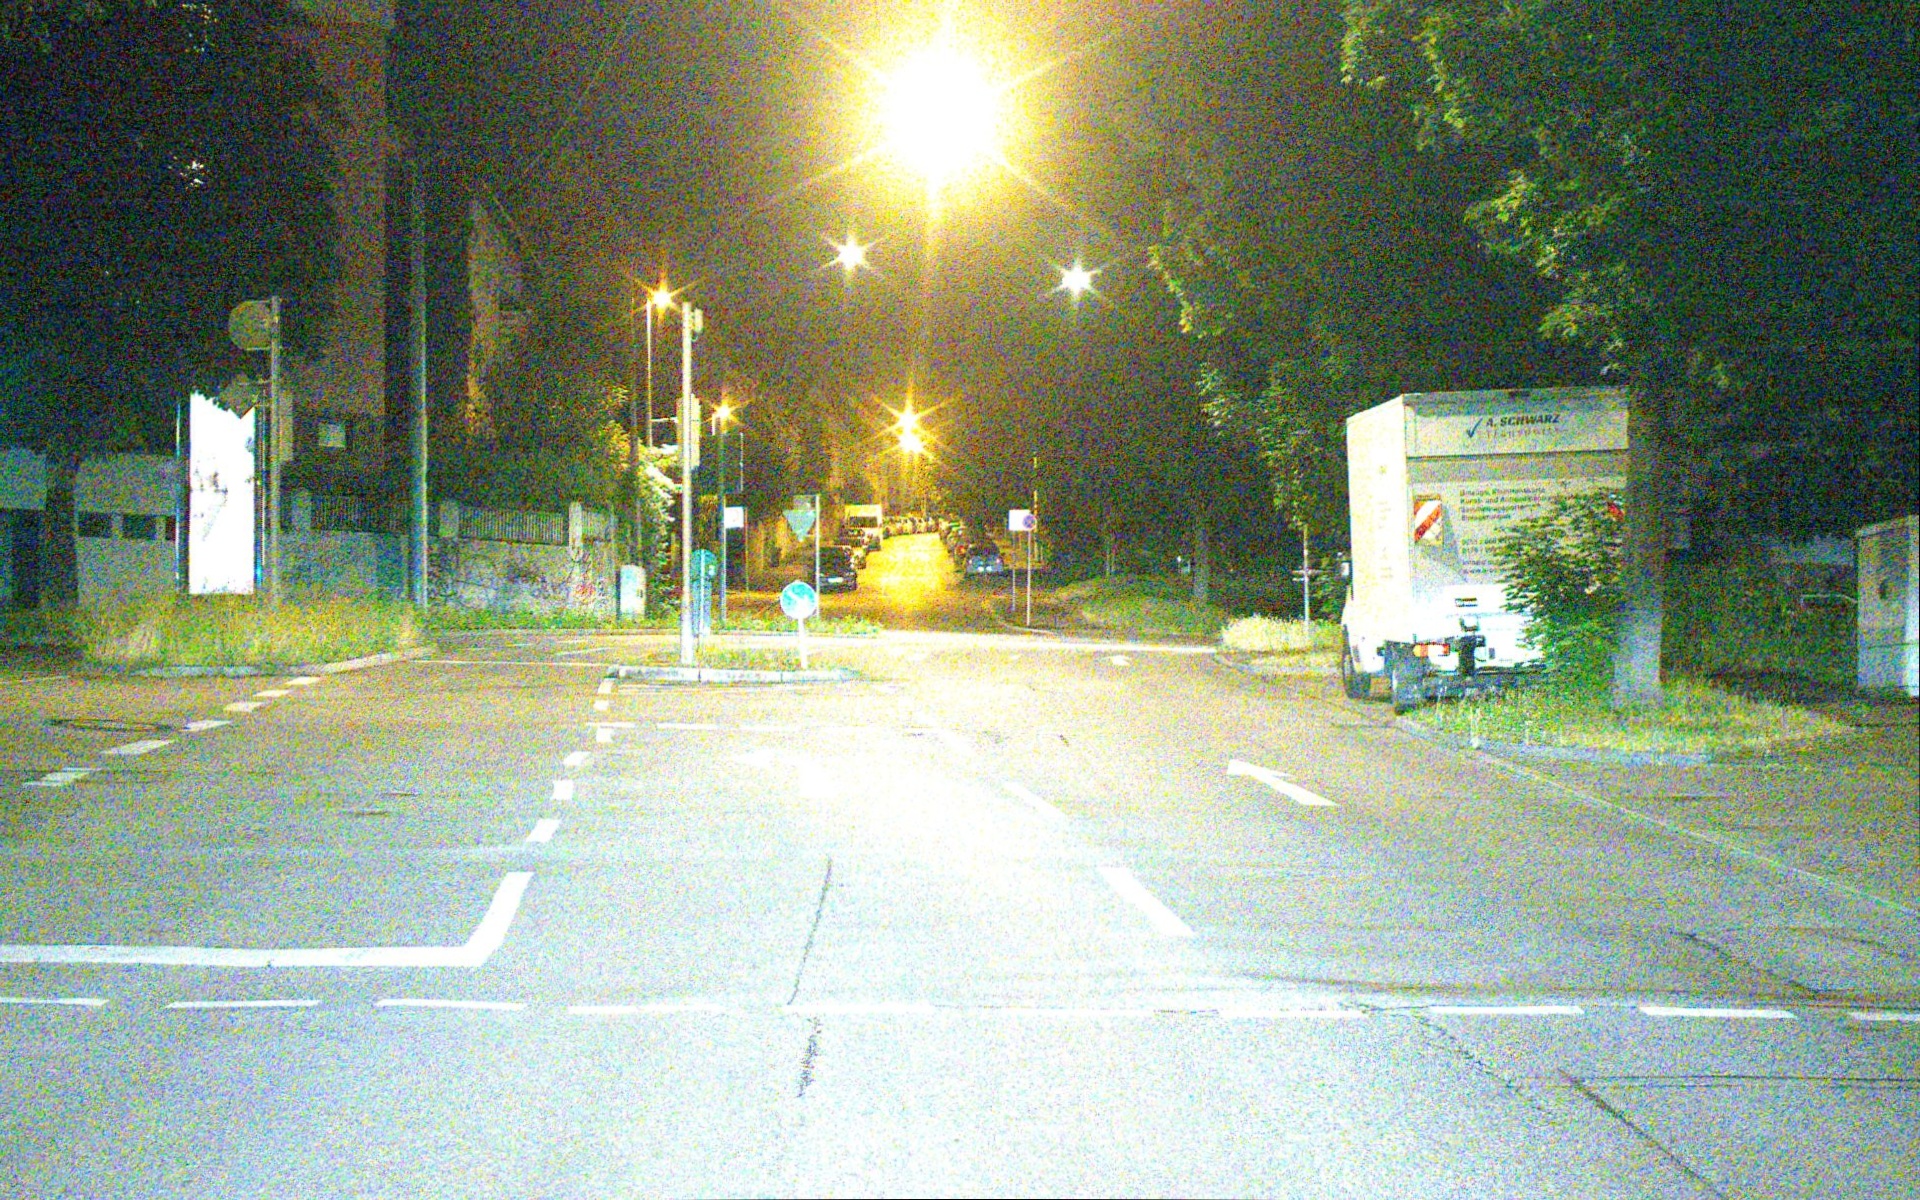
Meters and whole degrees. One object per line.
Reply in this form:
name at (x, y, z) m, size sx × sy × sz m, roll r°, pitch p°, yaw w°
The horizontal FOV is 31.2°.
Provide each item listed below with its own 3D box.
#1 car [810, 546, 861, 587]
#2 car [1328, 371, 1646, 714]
car at (-4.851, -1.296, 134.368) m, size 1.908 × 1.552 × 3.904 m, roll 1°, pitch 1°, yaw -1°
car at (5.117, -0.557, 34.261) m, size 2.297 × 3.082 × 5.840 m, roll -1°, pitch 1°, yaw 1°
